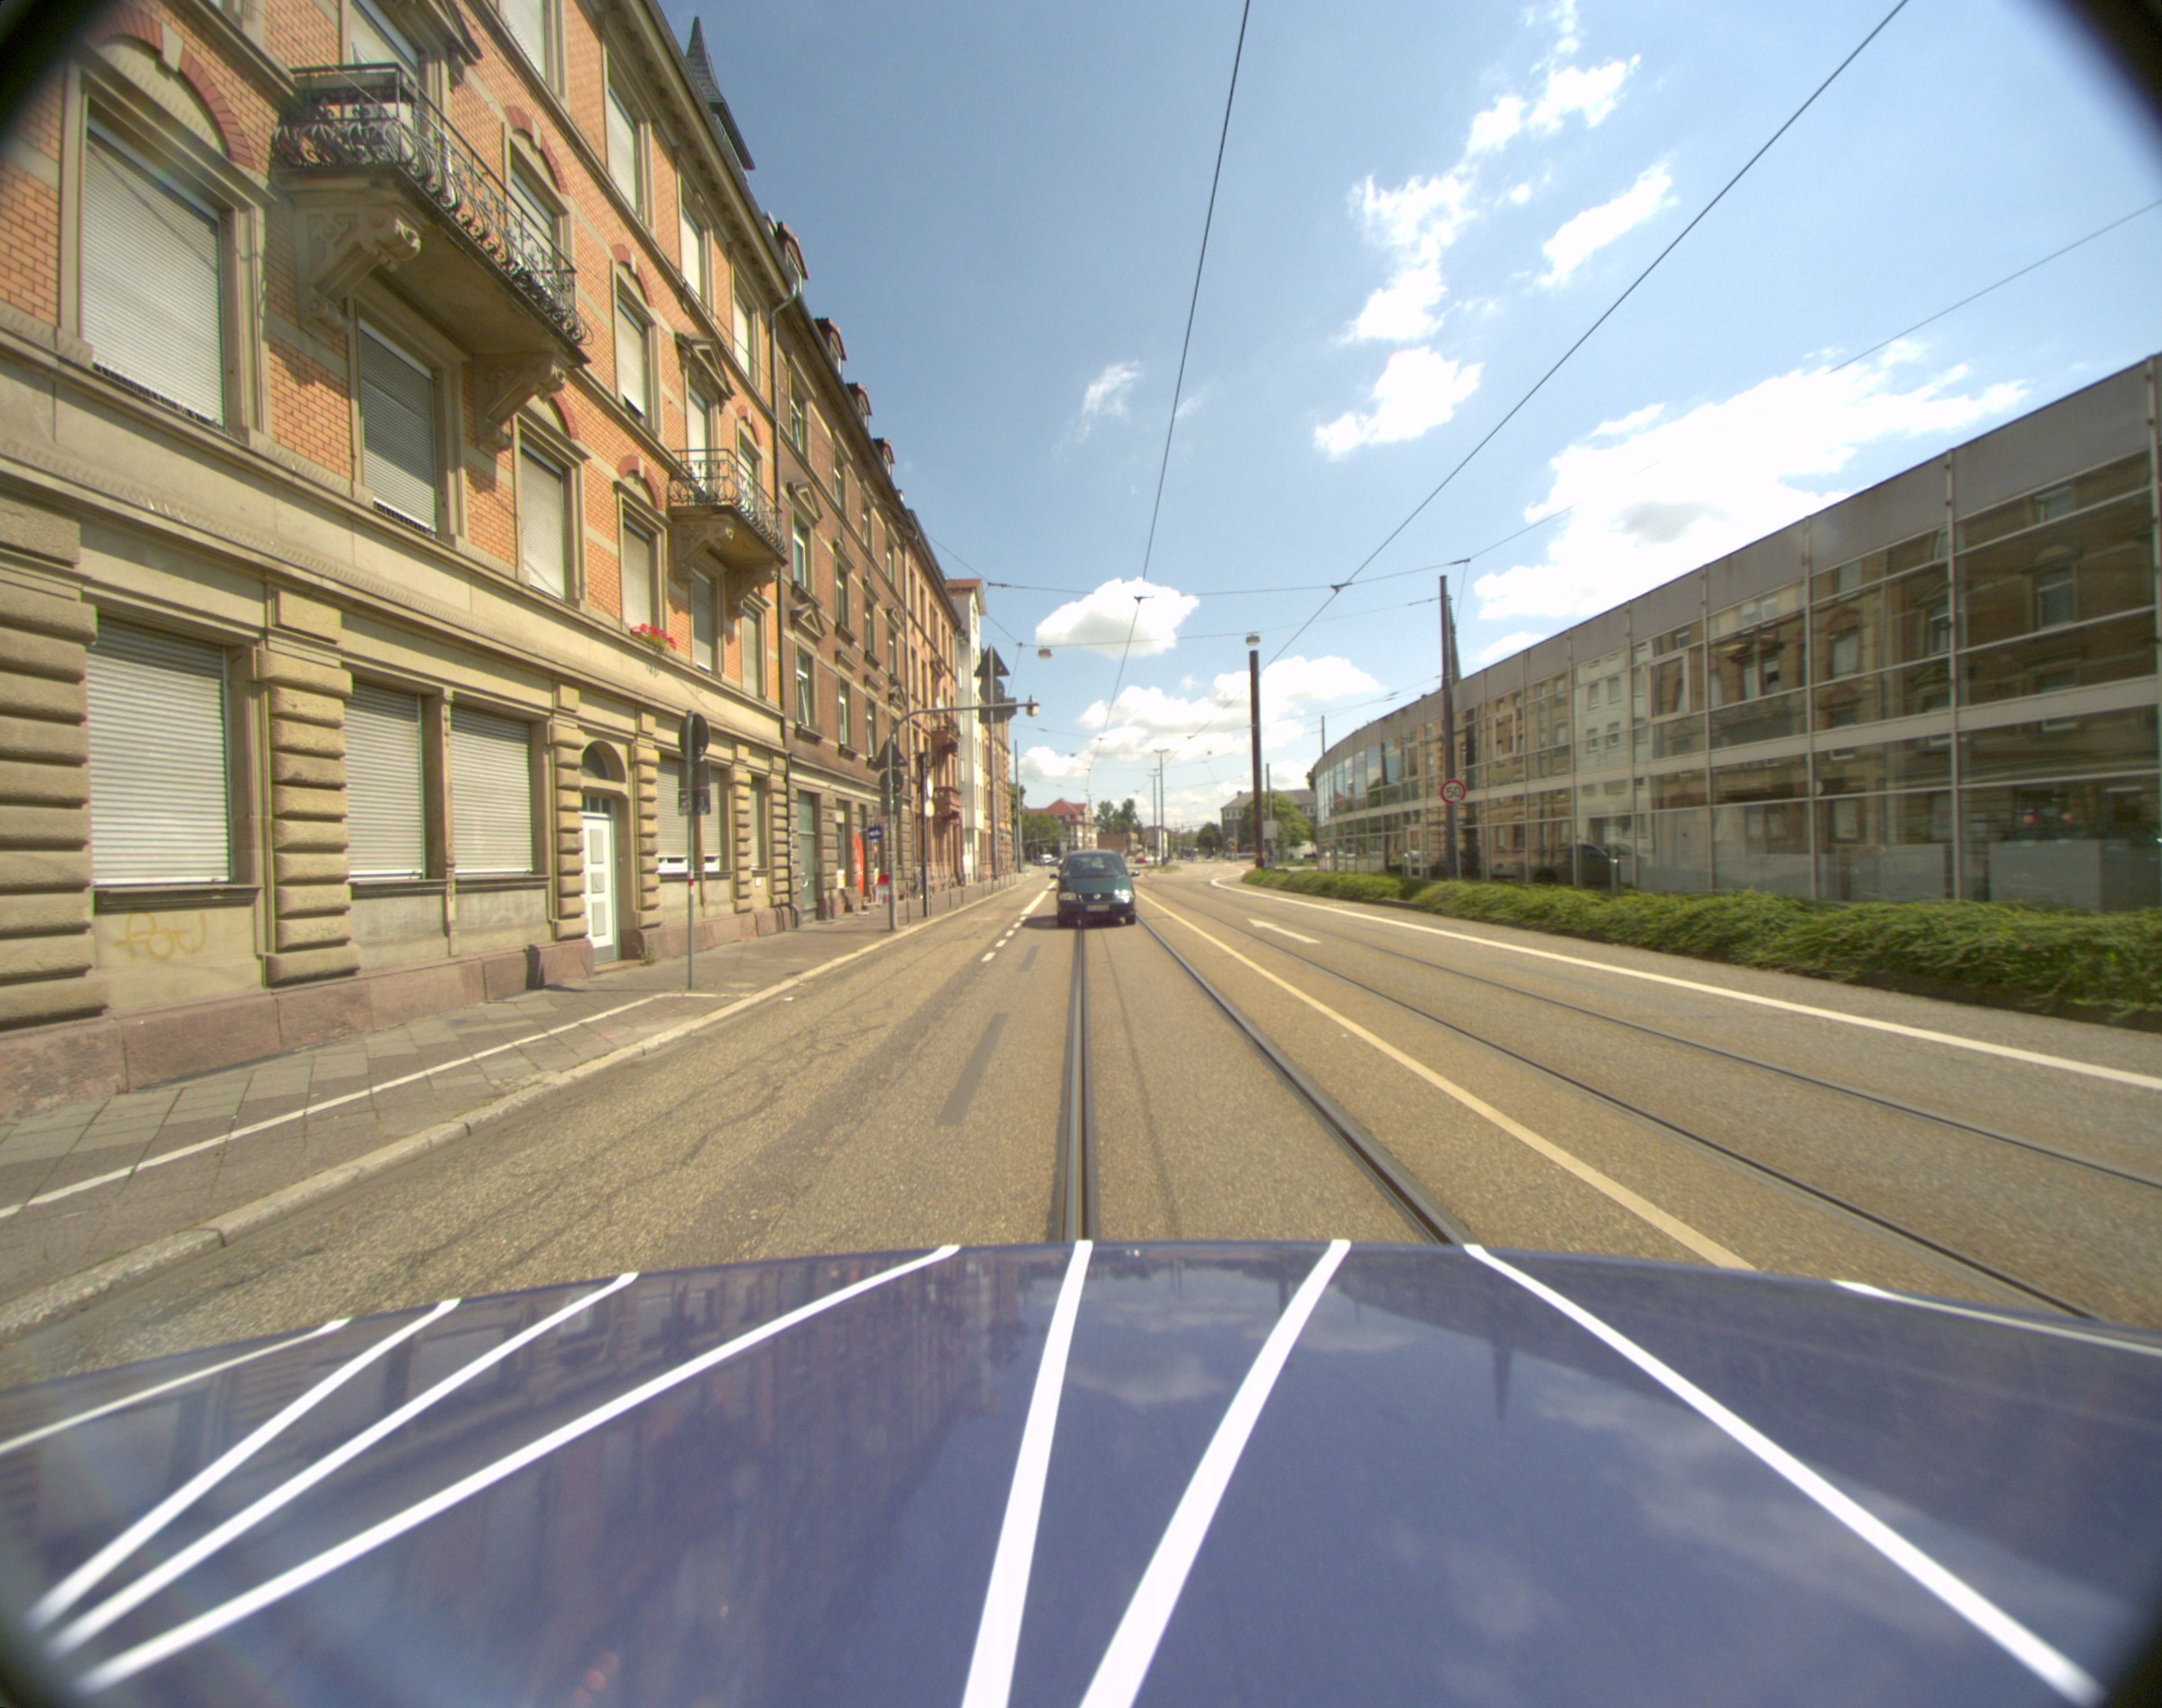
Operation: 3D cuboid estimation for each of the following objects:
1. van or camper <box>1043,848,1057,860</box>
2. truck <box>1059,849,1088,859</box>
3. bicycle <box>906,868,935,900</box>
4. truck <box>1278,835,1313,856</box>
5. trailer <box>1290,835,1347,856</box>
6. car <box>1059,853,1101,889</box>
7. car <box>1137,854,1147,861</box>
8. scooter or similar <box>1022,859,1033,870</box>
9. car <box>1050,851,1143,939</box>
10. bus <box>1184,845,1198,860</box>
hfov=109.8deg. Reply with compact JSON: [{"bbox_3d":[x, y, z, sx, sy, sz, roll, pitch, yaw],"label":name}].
[{"bbox_3d":[-7.199,-0.051,174.527,2.234,2.719,5.516,-2,0,-12],"label":"van or camper"},{"bbox_3d":[-2.408,0.017,240.289,8.745,2.981,3.349,-2,2,-25],"label":"truck"},{"bbox_3d":[-6.340,1.159,30.137,0.588,1.171,2.205,-1,0,1],"label":"bicycle"},{"bbox_3d":[44.140,-1.742,156.437,6.889,4.094,2.957,-2,0,-30],"label":"truck"},{"bbox_3d":[50.078,-1.908,159.928,13.439,4.052,2.942,-2,0,-31],"label":"trailer"},{"bbox_3d":[-0.095,0.802,38.155,1.873,1.607,4.426,-4,0,-1],"label":"car"},{"bbox_3d":[12.475,0.719,156.193,1.706,1.420,3.902,0,0,0],"label":"car"},{"bbox_3d":[-5.945,1.190,84.384,0.949,1.173,1.086,-1,1,7],"label":"scooter or similar"},{"bbox_3d":[0.327,0.824,17.449,1.819,1.707,4.085,-3,0,0],"label":"car"},{"bbox_3d":[27.467,-0.388,188.980,2.947,3.427,7.954,-1,0,11],"label":"bus"}]
